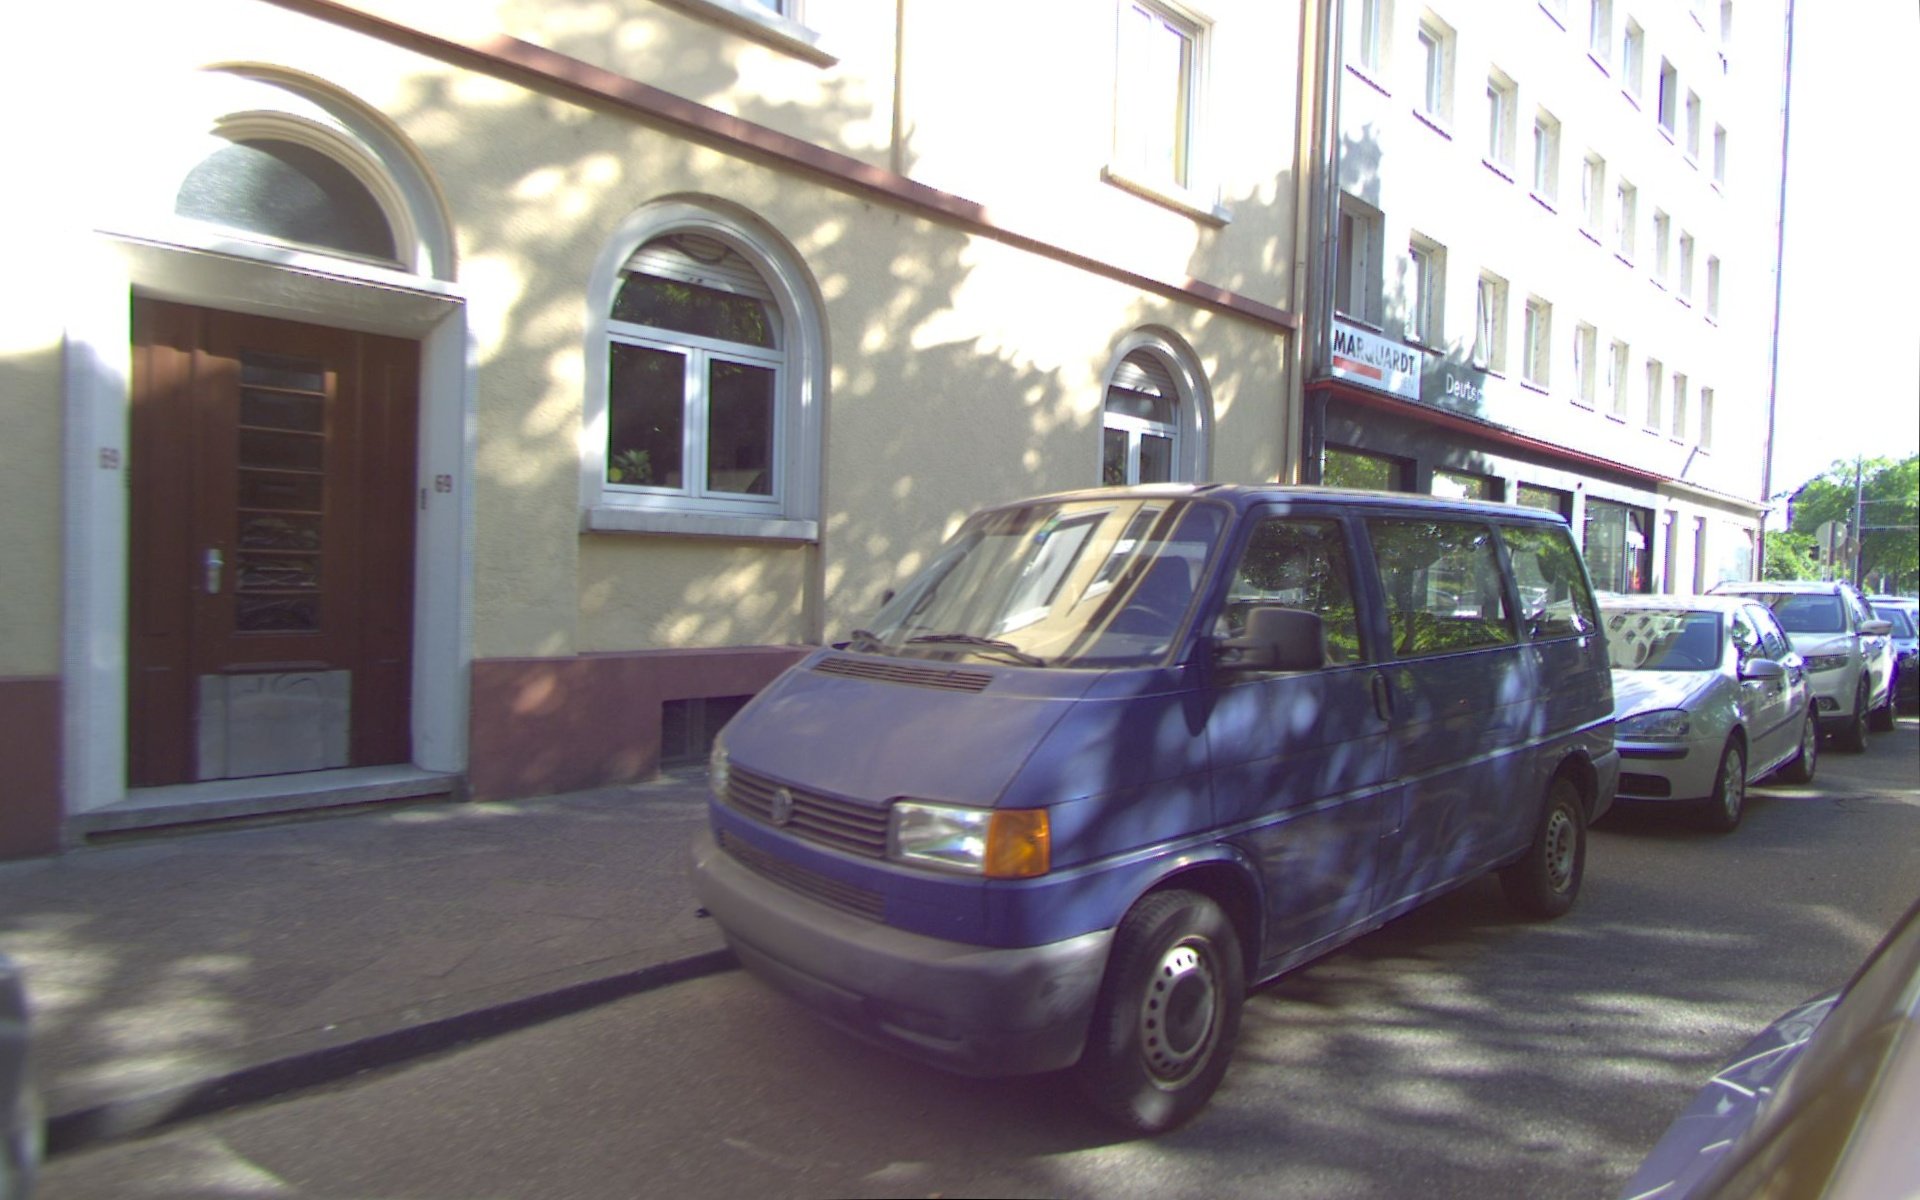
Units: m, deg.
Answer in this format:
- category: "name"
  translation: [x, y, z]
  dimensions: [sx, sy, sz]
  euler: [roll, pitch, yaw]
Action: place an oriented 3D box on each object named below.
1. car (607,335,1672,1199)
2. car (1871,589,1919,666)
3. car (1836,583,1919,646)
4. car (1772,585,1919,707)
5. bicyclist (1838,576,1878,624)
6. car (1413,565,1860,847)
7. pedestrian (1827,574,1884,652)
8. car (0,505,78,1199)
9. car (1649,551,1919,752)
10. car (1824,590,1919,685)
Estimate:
- category: "car"
  translation: [1.189, 0.368, 4.404]
  dimensions: [4.760, 1.924, 1.953]
  euler: [0, 2, -41]
- category: "car"
  translation: [21.111, 0.587, 21.718]
  dimensions: [3.951, 1.516, 1.723]
  euler: [0, 3, -40]
- category: "car"
  translation: [29.310, 0.489, 30.129]
  dimensions: [1.837, 1.797, 4.489]
  euler: [1, 2, -32]
- category: "car"
  translation: [13.219, 0.569, 14.645]
  dimensions: [1.803, 1.481, 4.369]
  euler: [4, 3, 45]
- category: "bicyclist"
  translation: [30.644, -0.004, 34.544]
  dimensions: [0.820, 1.583, 0.590]
  euler: [3, 2, 28]
- category: "car"
  translation: [5.254, 0.562, 7.631]
  dimensions: [4.164, 1.518, 1.765]
  euler: [0, 3, -41]
- category: "pedestrian"
  translation: [20.661, 0.281, 23.348]
  dimensions: [0.731, 1.743, 0.762]
  euler: [1, 2, -35]
- category: "car"
  translation: [-2.981, 0.607, 0.702]
  dimensions: [3.534, 1.516, 1.624]
  euler: [0, 3, -43]
- category: "car"
  translation: [9.297, 0.425, 11.184]
  dimensions: [4.433, 1.775, 1.765]
  euler: [0, 3, -43]
- category: "car"
  translation: [16.680, 0.612, 17.837]
  dimensions: [3.607, 1.481, 1.600]
  euler: [0, 2, -40]
